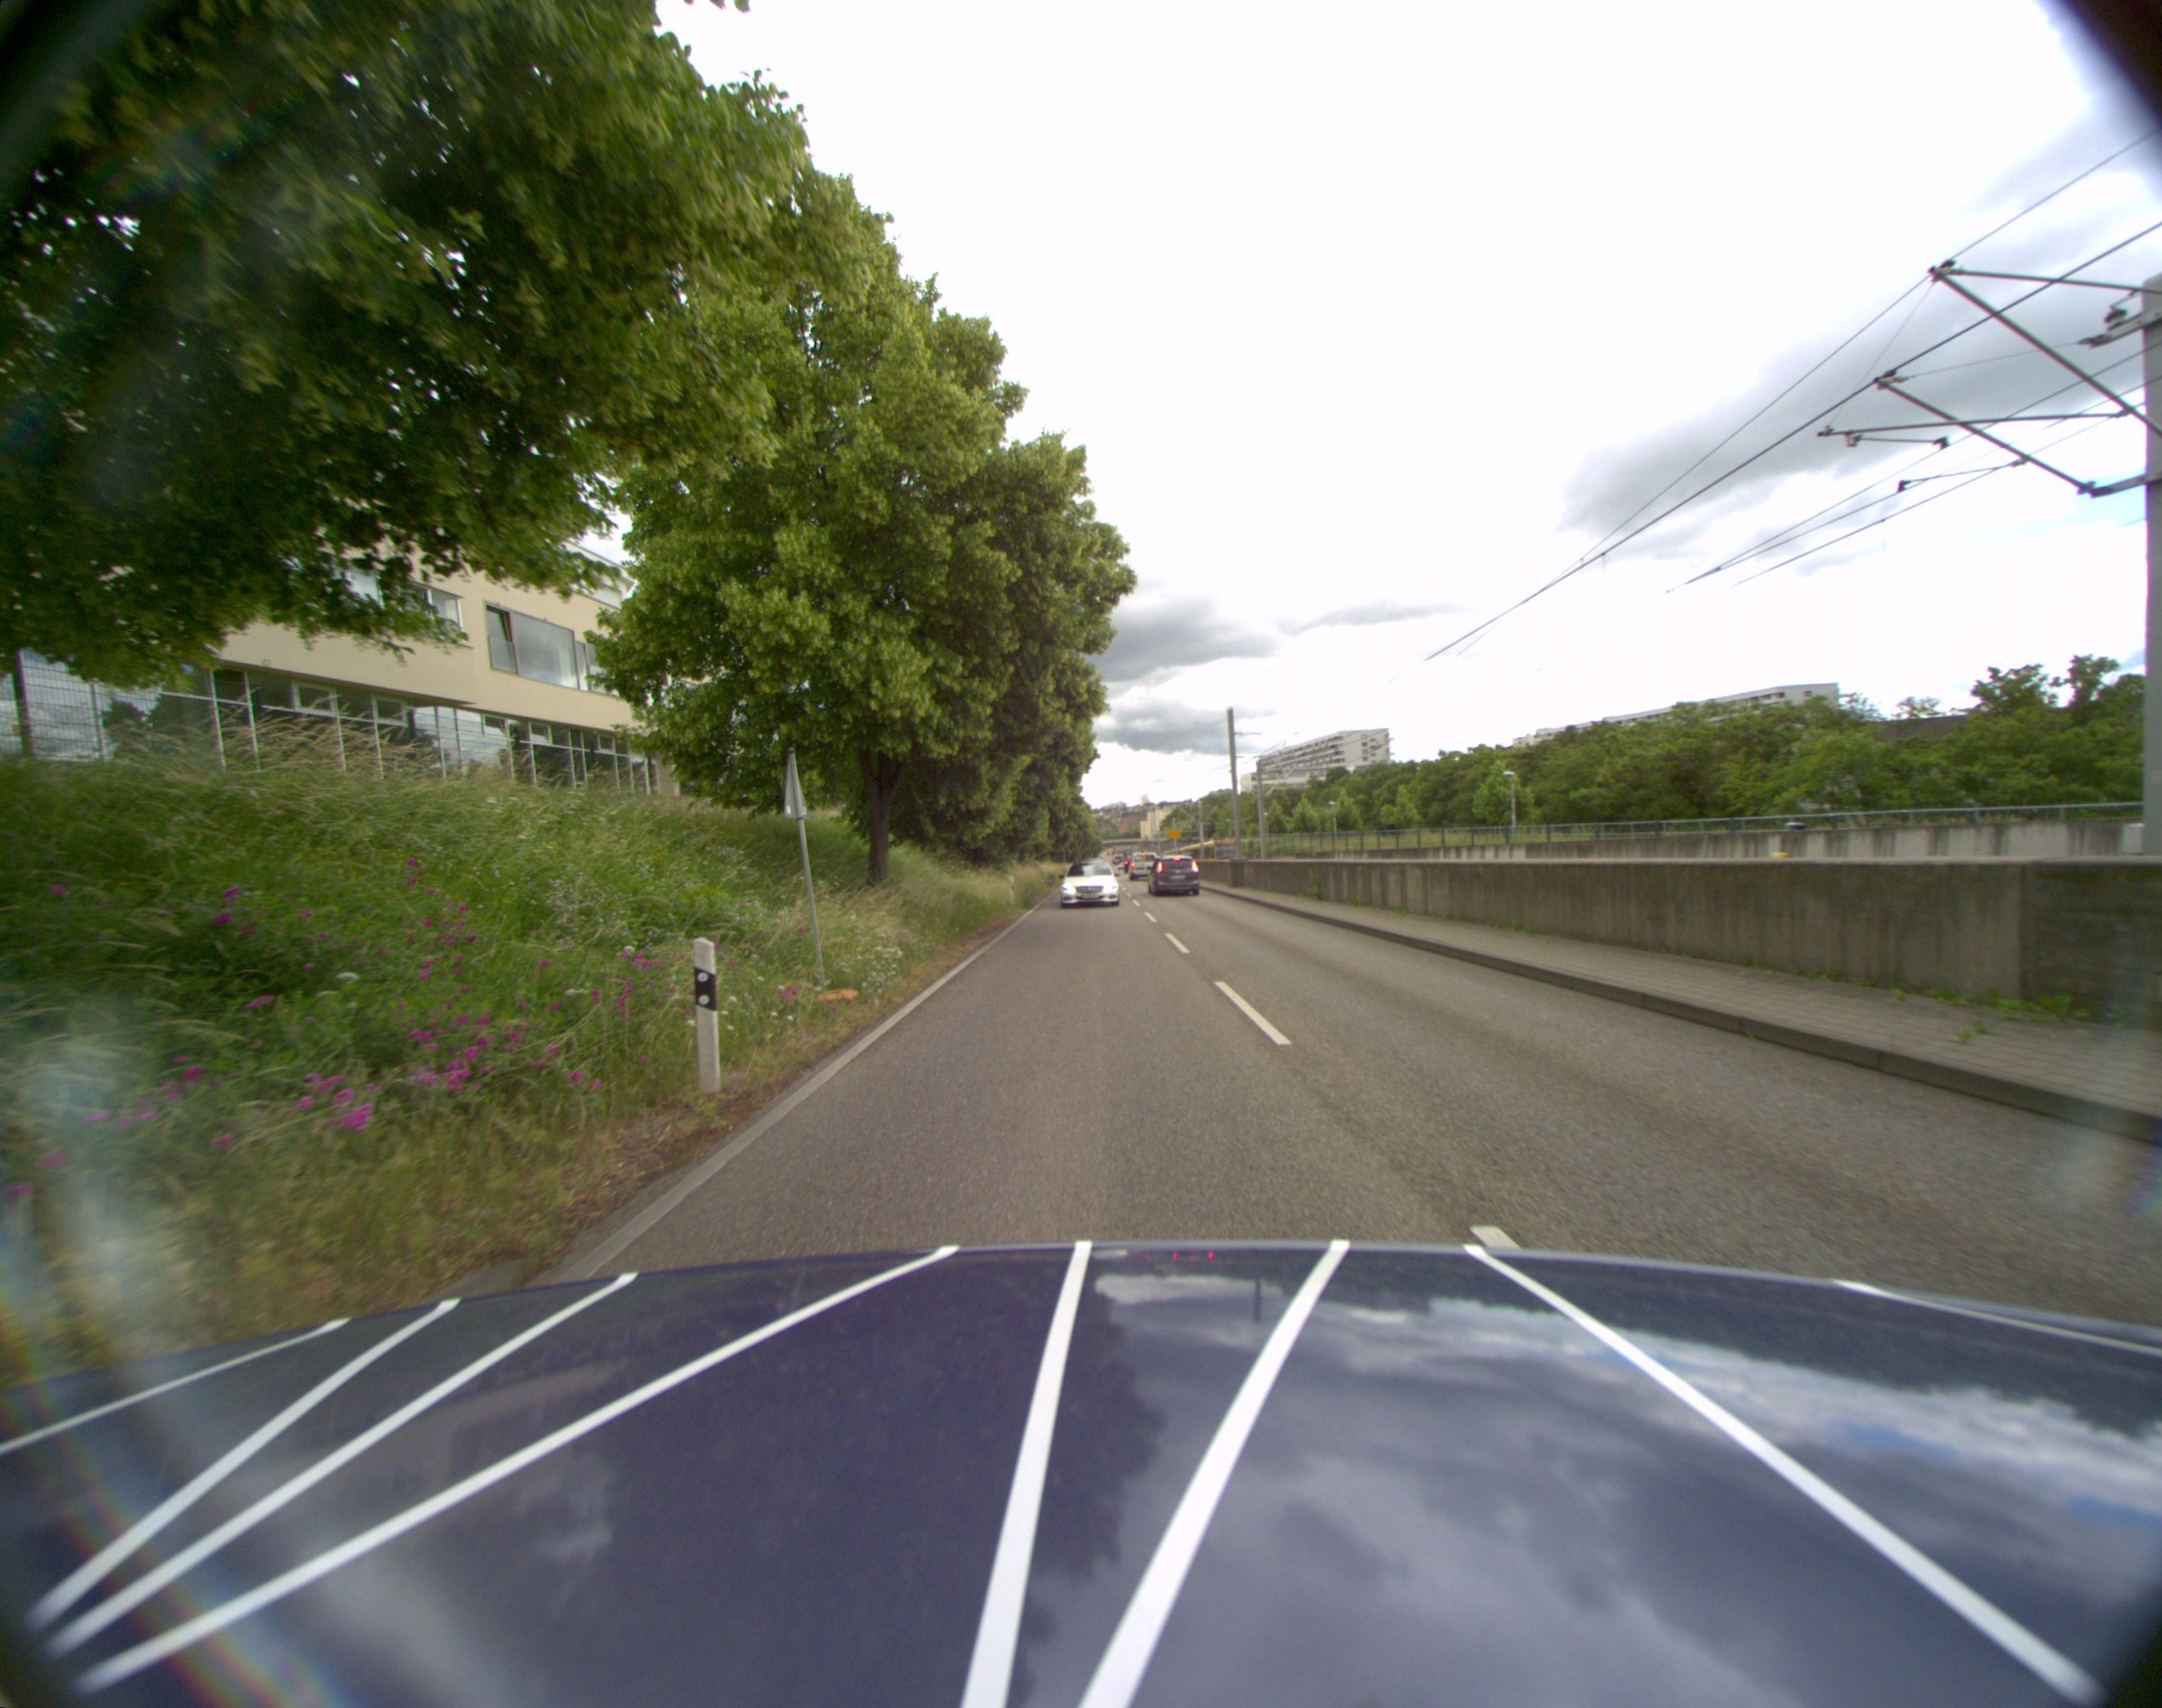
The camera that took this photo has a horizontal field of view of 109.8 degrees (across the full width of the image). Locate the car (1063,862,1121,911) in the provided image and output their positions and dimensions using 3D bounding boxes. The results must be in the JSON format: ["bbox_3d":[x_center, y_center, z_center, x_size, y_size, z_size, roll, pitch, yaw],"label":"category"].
[{"bbox_3d":[0.360,1.030,25.475,1.739,1.366,3.999,-2,1,0],"label":"car"}]

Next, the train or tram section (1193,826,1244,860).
[{"bbox_3d":[14.496,-1.126,81.800,2.787,3.175,18.475,-2,0,2],"label":"train or tram section"}]

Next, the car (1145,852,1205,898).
[{"bbox_3d":[3.736,0.793,30.834,1.827,1.647,4.245,-2,0,0],"label":"car"}]

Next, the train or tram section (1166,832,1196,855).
[{"bbox_3d":[15.837,-1.609,121.724,2.741,3.196,19.915,-3,1,2],"label":"train or tram section"}]

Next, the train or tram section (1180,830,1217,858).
[{"bbox_3d":[15.257,-1.312,100.238,2.787,3.175,18.475,-2,0,2],"label":"train or tram section"}]

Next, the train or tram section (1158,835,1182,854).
[{"bbox_3d":[16.396,-1.815,140.472,2.717,3.172,17.566,-3,1,2],"label":"train or tram section"}]

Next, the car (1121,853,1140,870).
[{"bbox_3d":[5.121,0.790,79.308,1.781,1.677,4.066,-2,0,1],"label":"car"}]

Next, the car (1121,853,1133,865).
[{"bbox_3d":[6.118,0.623,101.560,1.598,1.531,2.697,-1,0,3],"label":"car"}]

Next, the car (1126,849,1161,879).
[{"bbox_3d":[4.311,0.653,52.710,1.901,1.823,4.905,-5,1,0],"label":"car"}]

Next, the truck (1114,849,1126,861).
[{"bbox_3d":[9.052,0.183,175.067,2.455,2.412,8.211,-2,1,2],"label":"truck"}]

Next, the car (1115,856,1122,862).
[{"bbox_3d":[10.735,1.309,219.012,1.998,1.630,4.000,-2,0,2],"label":"car"}]
